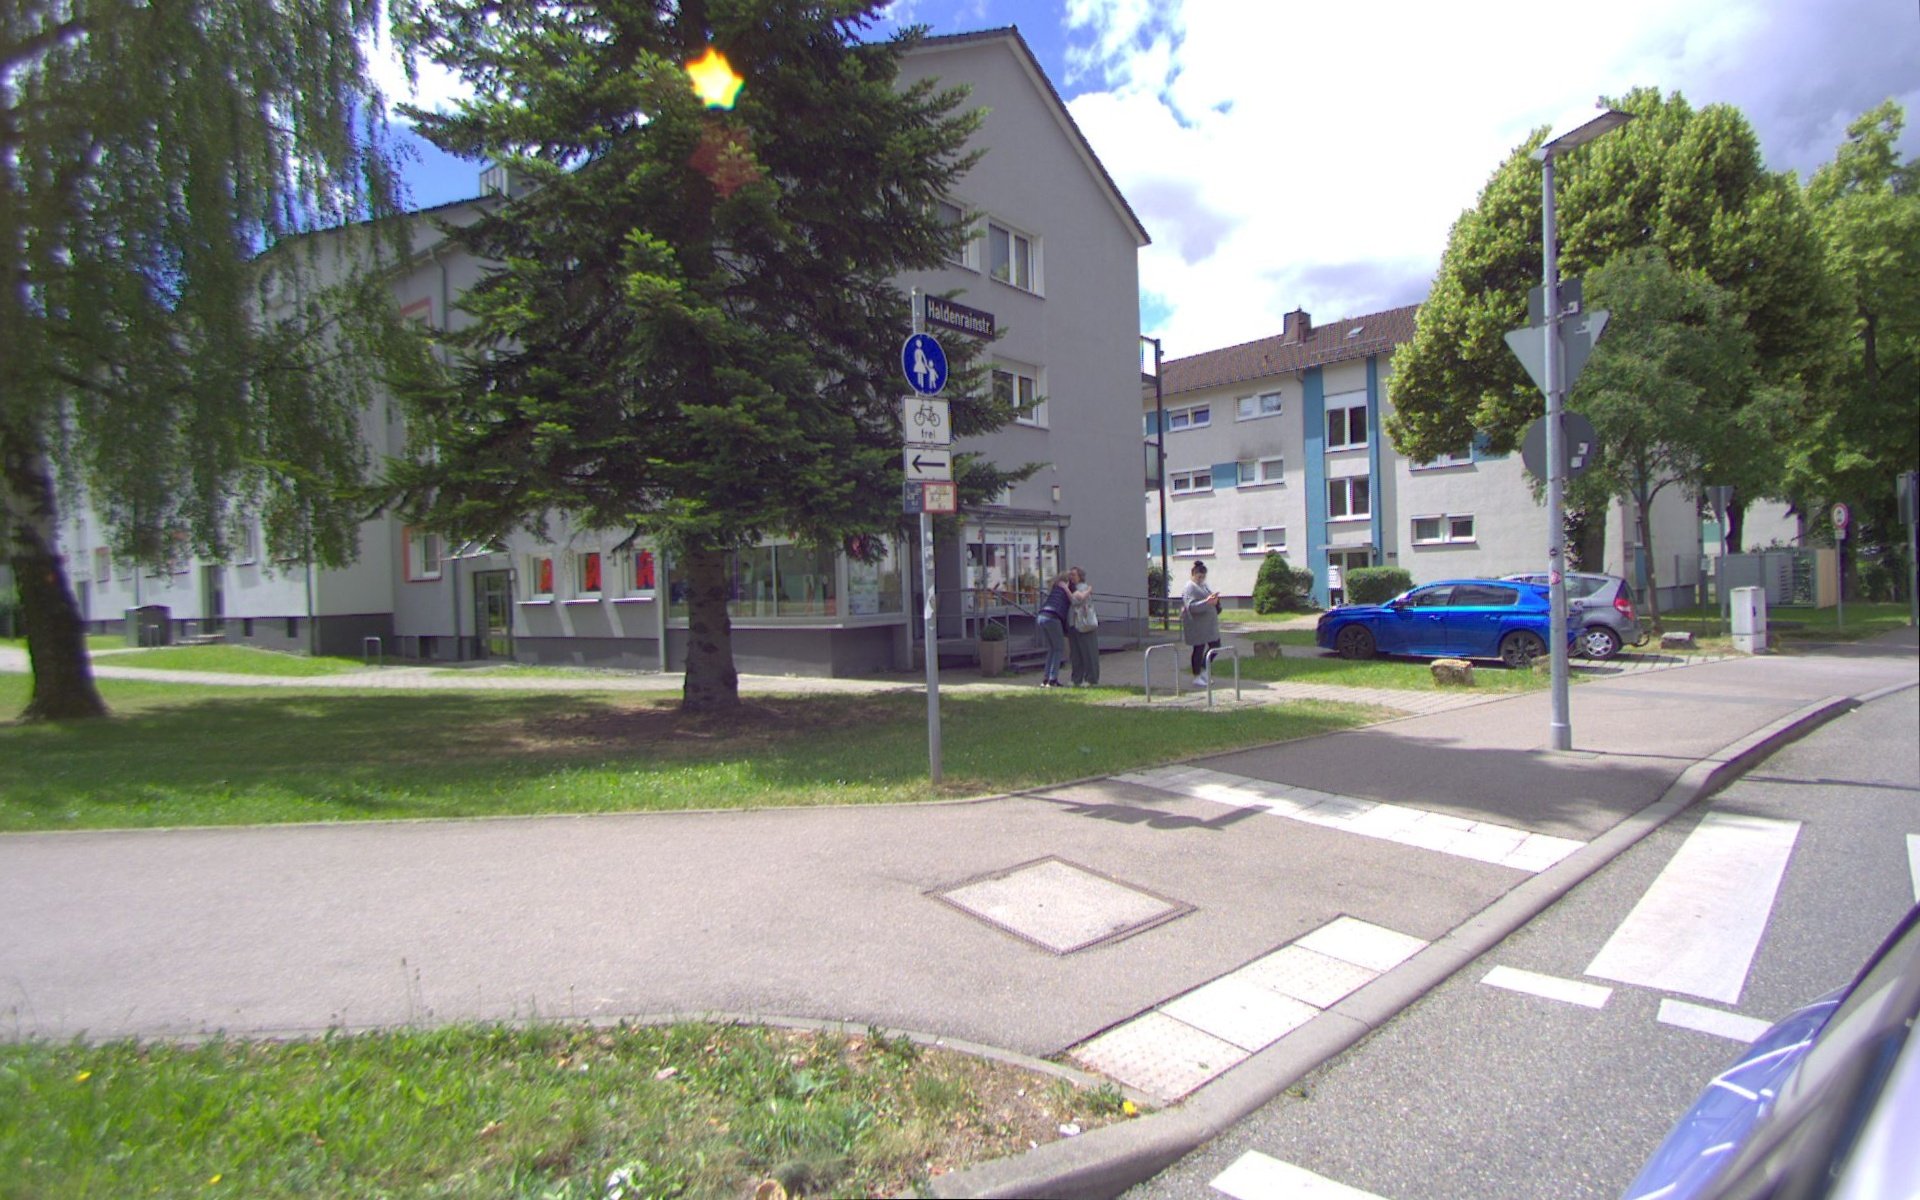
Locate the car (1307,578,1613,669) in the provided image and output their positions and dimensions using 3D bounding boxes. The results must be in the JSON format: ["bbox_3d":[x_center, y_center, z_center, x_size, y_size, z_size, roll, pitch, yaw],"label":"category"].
[{"bbox_3d":[8.646,0.315,17.701,4.476,1.258,1.972,3,3,39],"label":"car"}]

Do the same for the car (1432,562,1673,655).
[{"bbox_3d":[11.389,0.077,19.560,3.725,1.576,2.002,2,3,41],"label":"car"}]

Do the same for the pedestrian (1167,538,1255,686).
[{"bbox_3d":[3.494,0.148,14.149,0.923,1.980,0.844,-1,1,-7],"label":"pedestrian"}]

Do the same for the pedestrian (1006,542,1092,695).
[{"bbox_3d":[1.250,0.228,14.132,0.654,2.039,1.030,0,1,45],"label":"pedestrian"}]

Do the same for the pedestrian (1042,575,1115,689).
[{"bbox_3d":[1.674,0.430,14.318,0.741,1.549,0.681,0,1,43],"label":"pedestrian"}]
